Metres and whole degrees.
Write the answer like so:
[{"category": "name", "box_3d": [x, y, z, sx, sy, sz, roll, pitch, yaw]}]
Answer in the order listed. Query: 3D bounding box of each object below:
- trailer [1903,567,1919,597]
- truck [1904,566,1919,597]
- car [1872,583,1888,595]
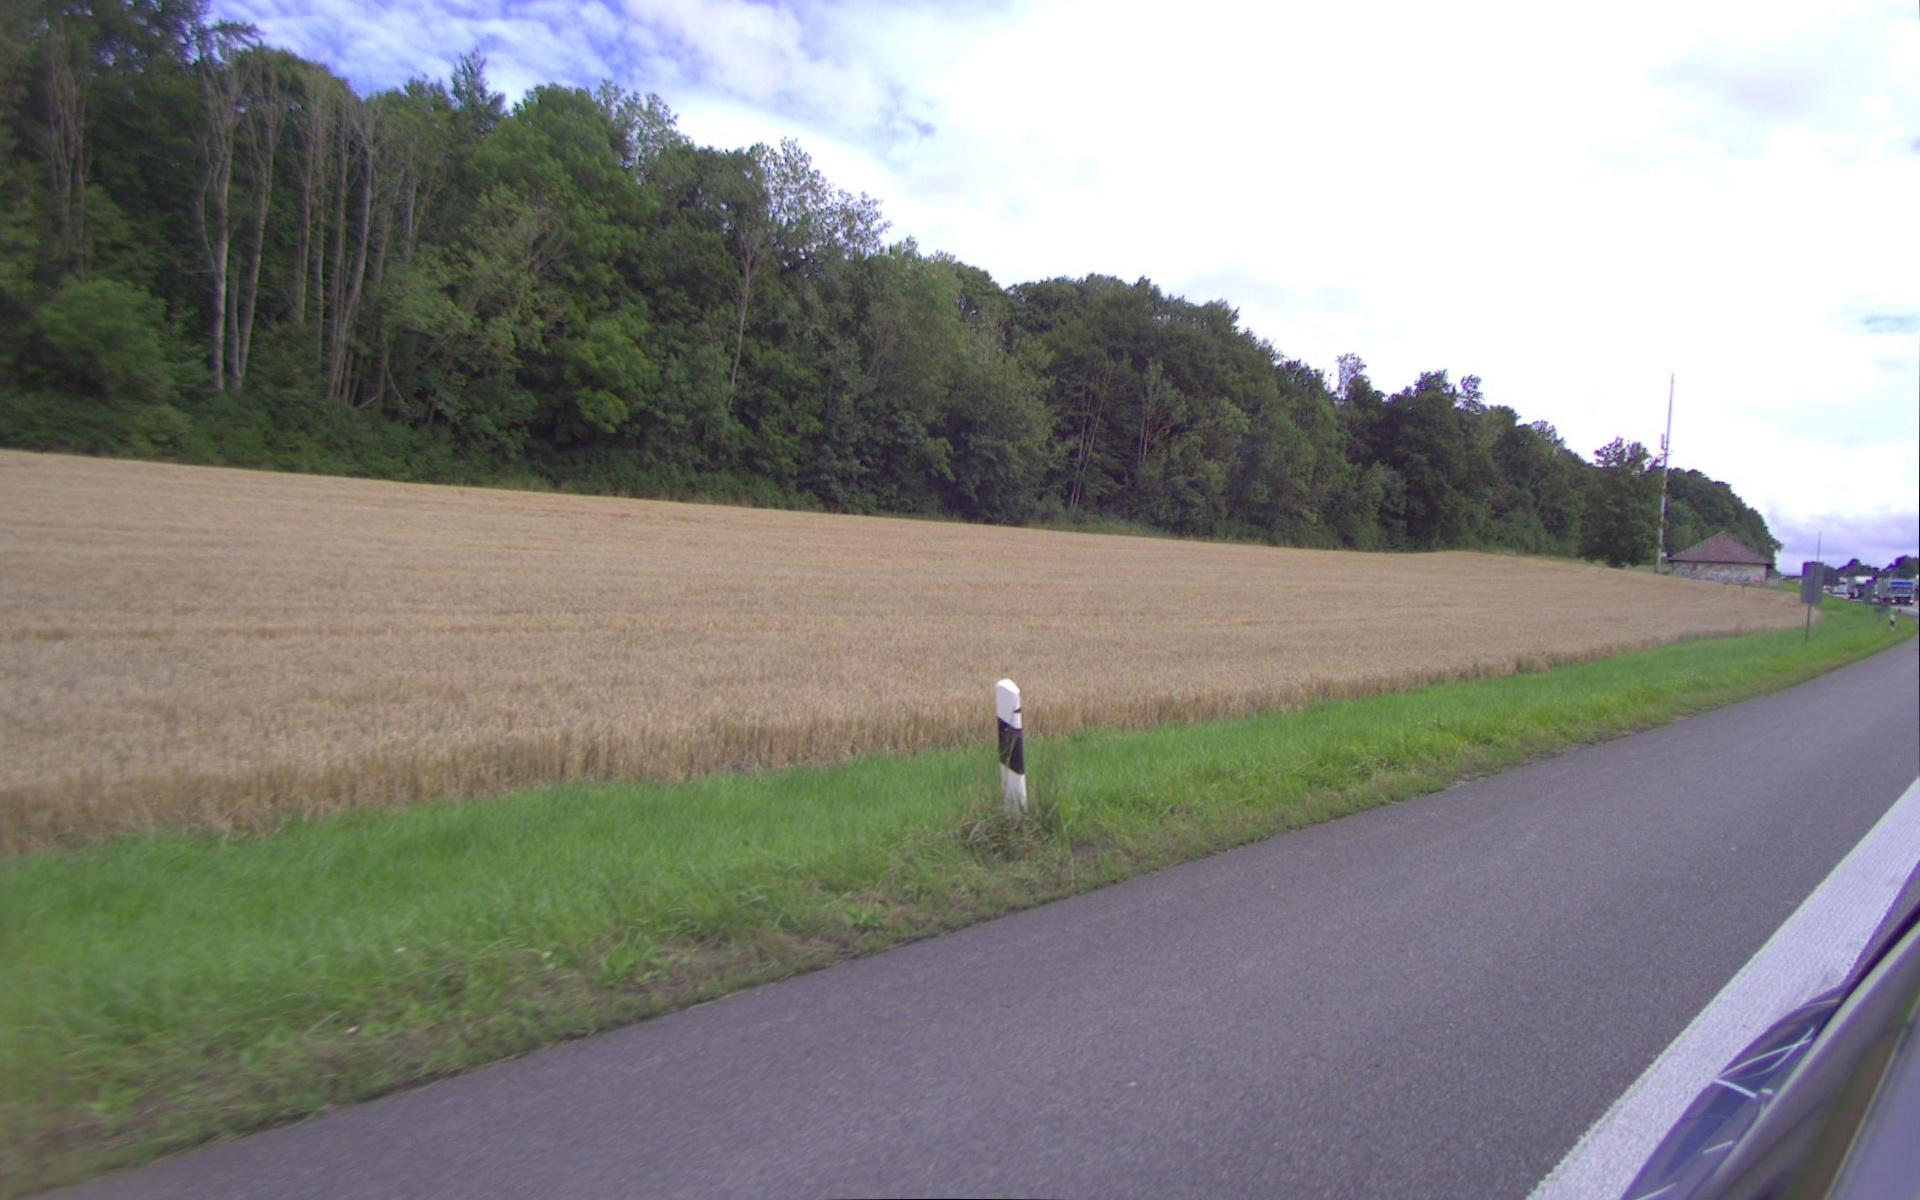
[{"category": "trailer", "box_3d": [130.818, -2.423, 138.202, 2.778, 4.004, 11.124, 1, 1, 42]}, {"category": "truck", "box_3d": [127.237, -2.394, 134.204, 2.787, 4.021, 5.849, 1, 1, 42]}, {"category": "car", "box_3d": [163.432, -1.961, 179.740, 1.994, 2.039, 3.936, 0, 1, 45]}]
